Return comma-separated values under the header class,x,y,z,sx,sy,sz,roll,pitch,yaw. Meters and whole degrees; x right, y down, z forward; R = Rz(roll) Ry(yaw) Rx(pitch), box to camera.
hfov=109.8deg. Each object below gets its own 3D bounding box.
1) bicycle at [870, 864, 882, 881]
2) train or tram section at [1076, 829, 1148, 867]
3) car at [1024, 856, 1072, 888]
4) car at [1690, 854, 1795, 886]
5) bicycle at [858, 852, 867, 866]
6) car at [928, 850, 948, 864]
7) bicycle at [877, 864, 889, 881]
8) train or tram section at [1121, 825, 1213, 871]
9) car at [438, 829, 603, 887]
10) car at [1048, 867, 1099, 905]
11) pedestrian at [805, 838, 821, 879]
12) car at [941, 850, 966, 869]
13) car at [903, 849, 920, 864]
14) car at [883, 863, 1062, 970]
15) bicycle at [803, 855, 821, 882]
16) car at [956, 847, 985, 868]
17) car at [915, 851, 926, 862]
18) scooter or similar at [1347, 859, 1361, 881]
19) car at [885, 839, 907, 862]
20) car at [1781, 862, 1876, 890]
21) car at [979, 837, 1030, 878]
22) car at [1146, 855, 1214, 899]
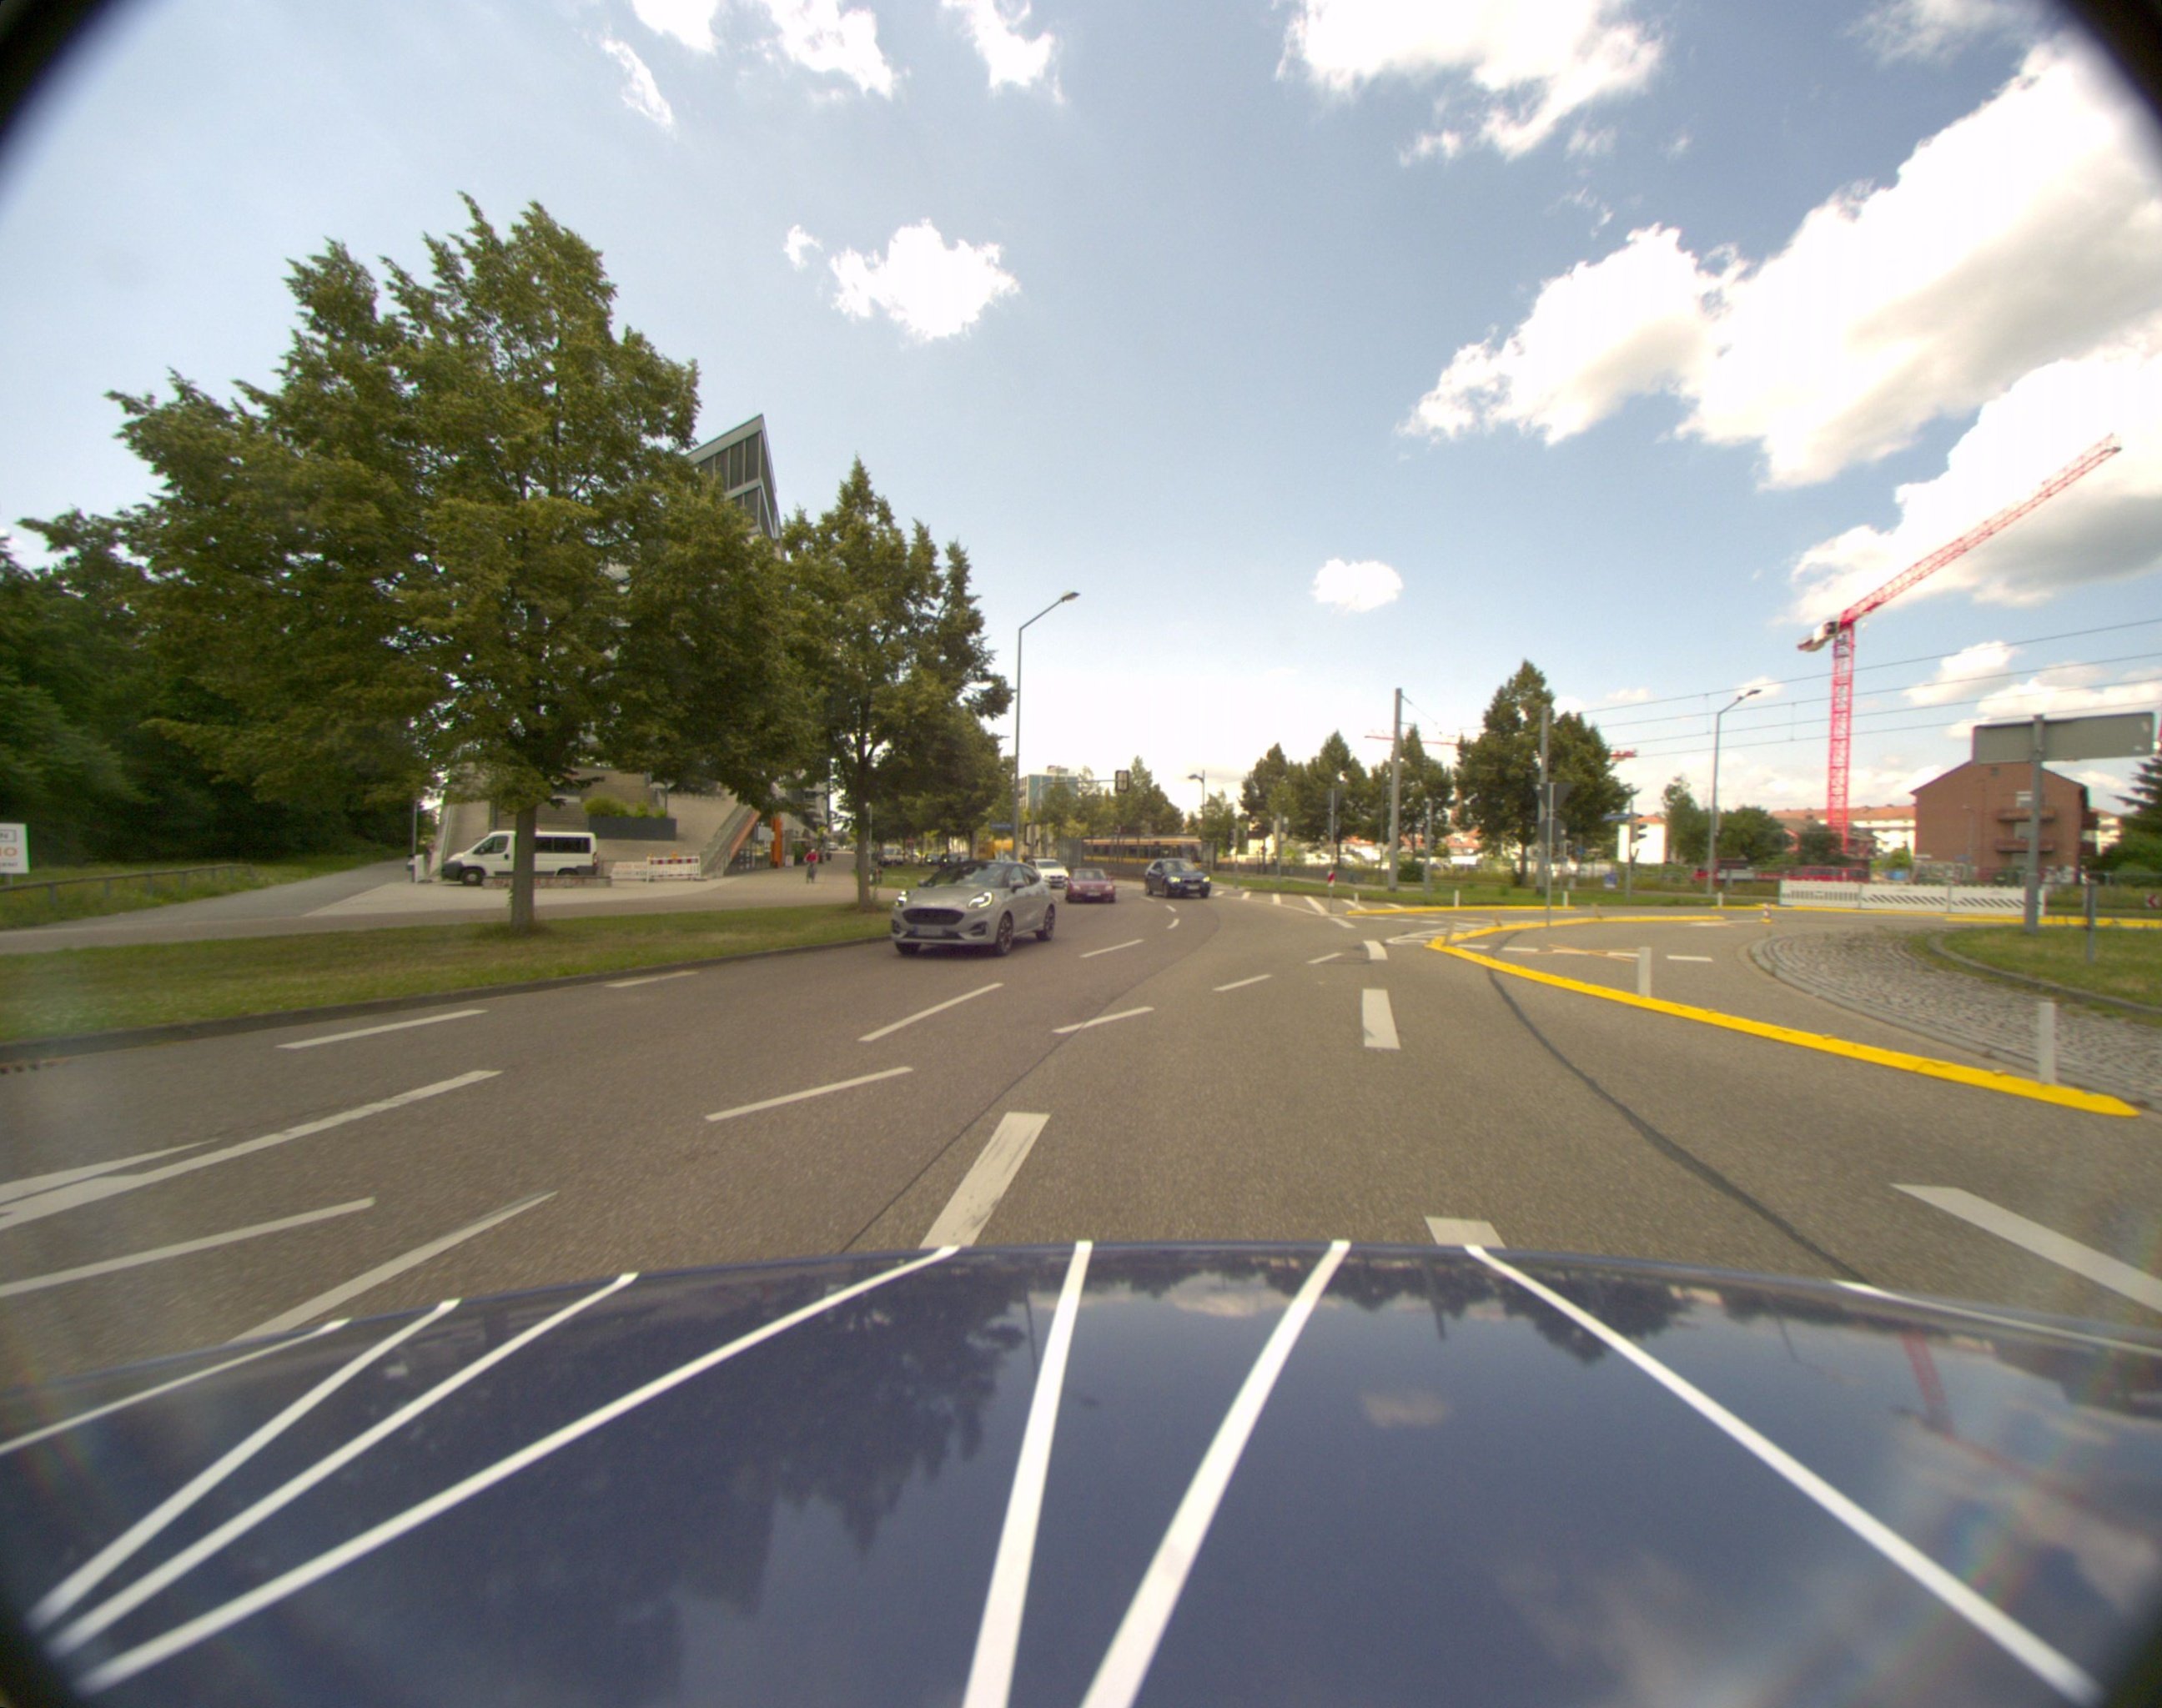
class,x,y,z,sx,sy,sz,roll,pitch,yaw
bicycle,-10.141,0.901,37.634,0.359,0.821,1.470,0,0,-23
train or tram section,2.967,-0.632,81.115,2.698,3.617,14.639,1,0,-18
car,-1.919,0.974,42.909,1.676,1.589,4.121,-1,1,-17
car,48.788,1.088,56.328,2.392,2.185,6.841,1,0,6
bicycle,-17.608,0.397,61.295,0.517,1.082,1.745,1,0,-21
car,-17.418,0.337,92.336,2.001,1.681,4.289,-1,1,-16
bicycle,-9.755,0.901,37.387,0.359,0.821,1.470,0,0,-23
train or tram section,7.301,-0.548,67.812,2.854,3.718,13.453,1,0,-18
car,-22.288,0.136,30.449,5.161,2.135,2.143,0,1,-37
car,-0.356,1.172,29.099,1.674,1.254,4.090,0,0,-5
pedestrian,-13.390,0.210,37.999,0.755,2.002,1.229,0,2,-19
car,-13.239,0.532,78.610,2.001,1.751,4.289,-1,1,-16
car,-19.862,0.294,88.940,1.825,1.641,3.994,-1,1,-15
car,-1.676,0.936,13.202,1.672,1.462,4.096,1,0,13
bicycle,-13.420,0.722,37.969,0.813,1.237,2.406,1,1,-19
car,-9.964,0.251,68.258,2.001,1.751,4.289,-1,1,-16
car,-30.483,0.455,144.523,2.001,2.002,3.994,-1,1,-13
scooter or similar,17.431,1.003,48.509,0.419,1.295,1.345,1,3,3
car,-20.096,-0.403,82.791,2.164,2.380,6.269,-1,1,-13
car,55.810,1.613,56.896,2.086,1.841,5.185,1,0,2
car,-5.835,0.221,56.581,2.287,2.837,7.243,1,1,-18
car,4.117,0.901,32.227,1.775,1.590,4.123,-1,2,-9
